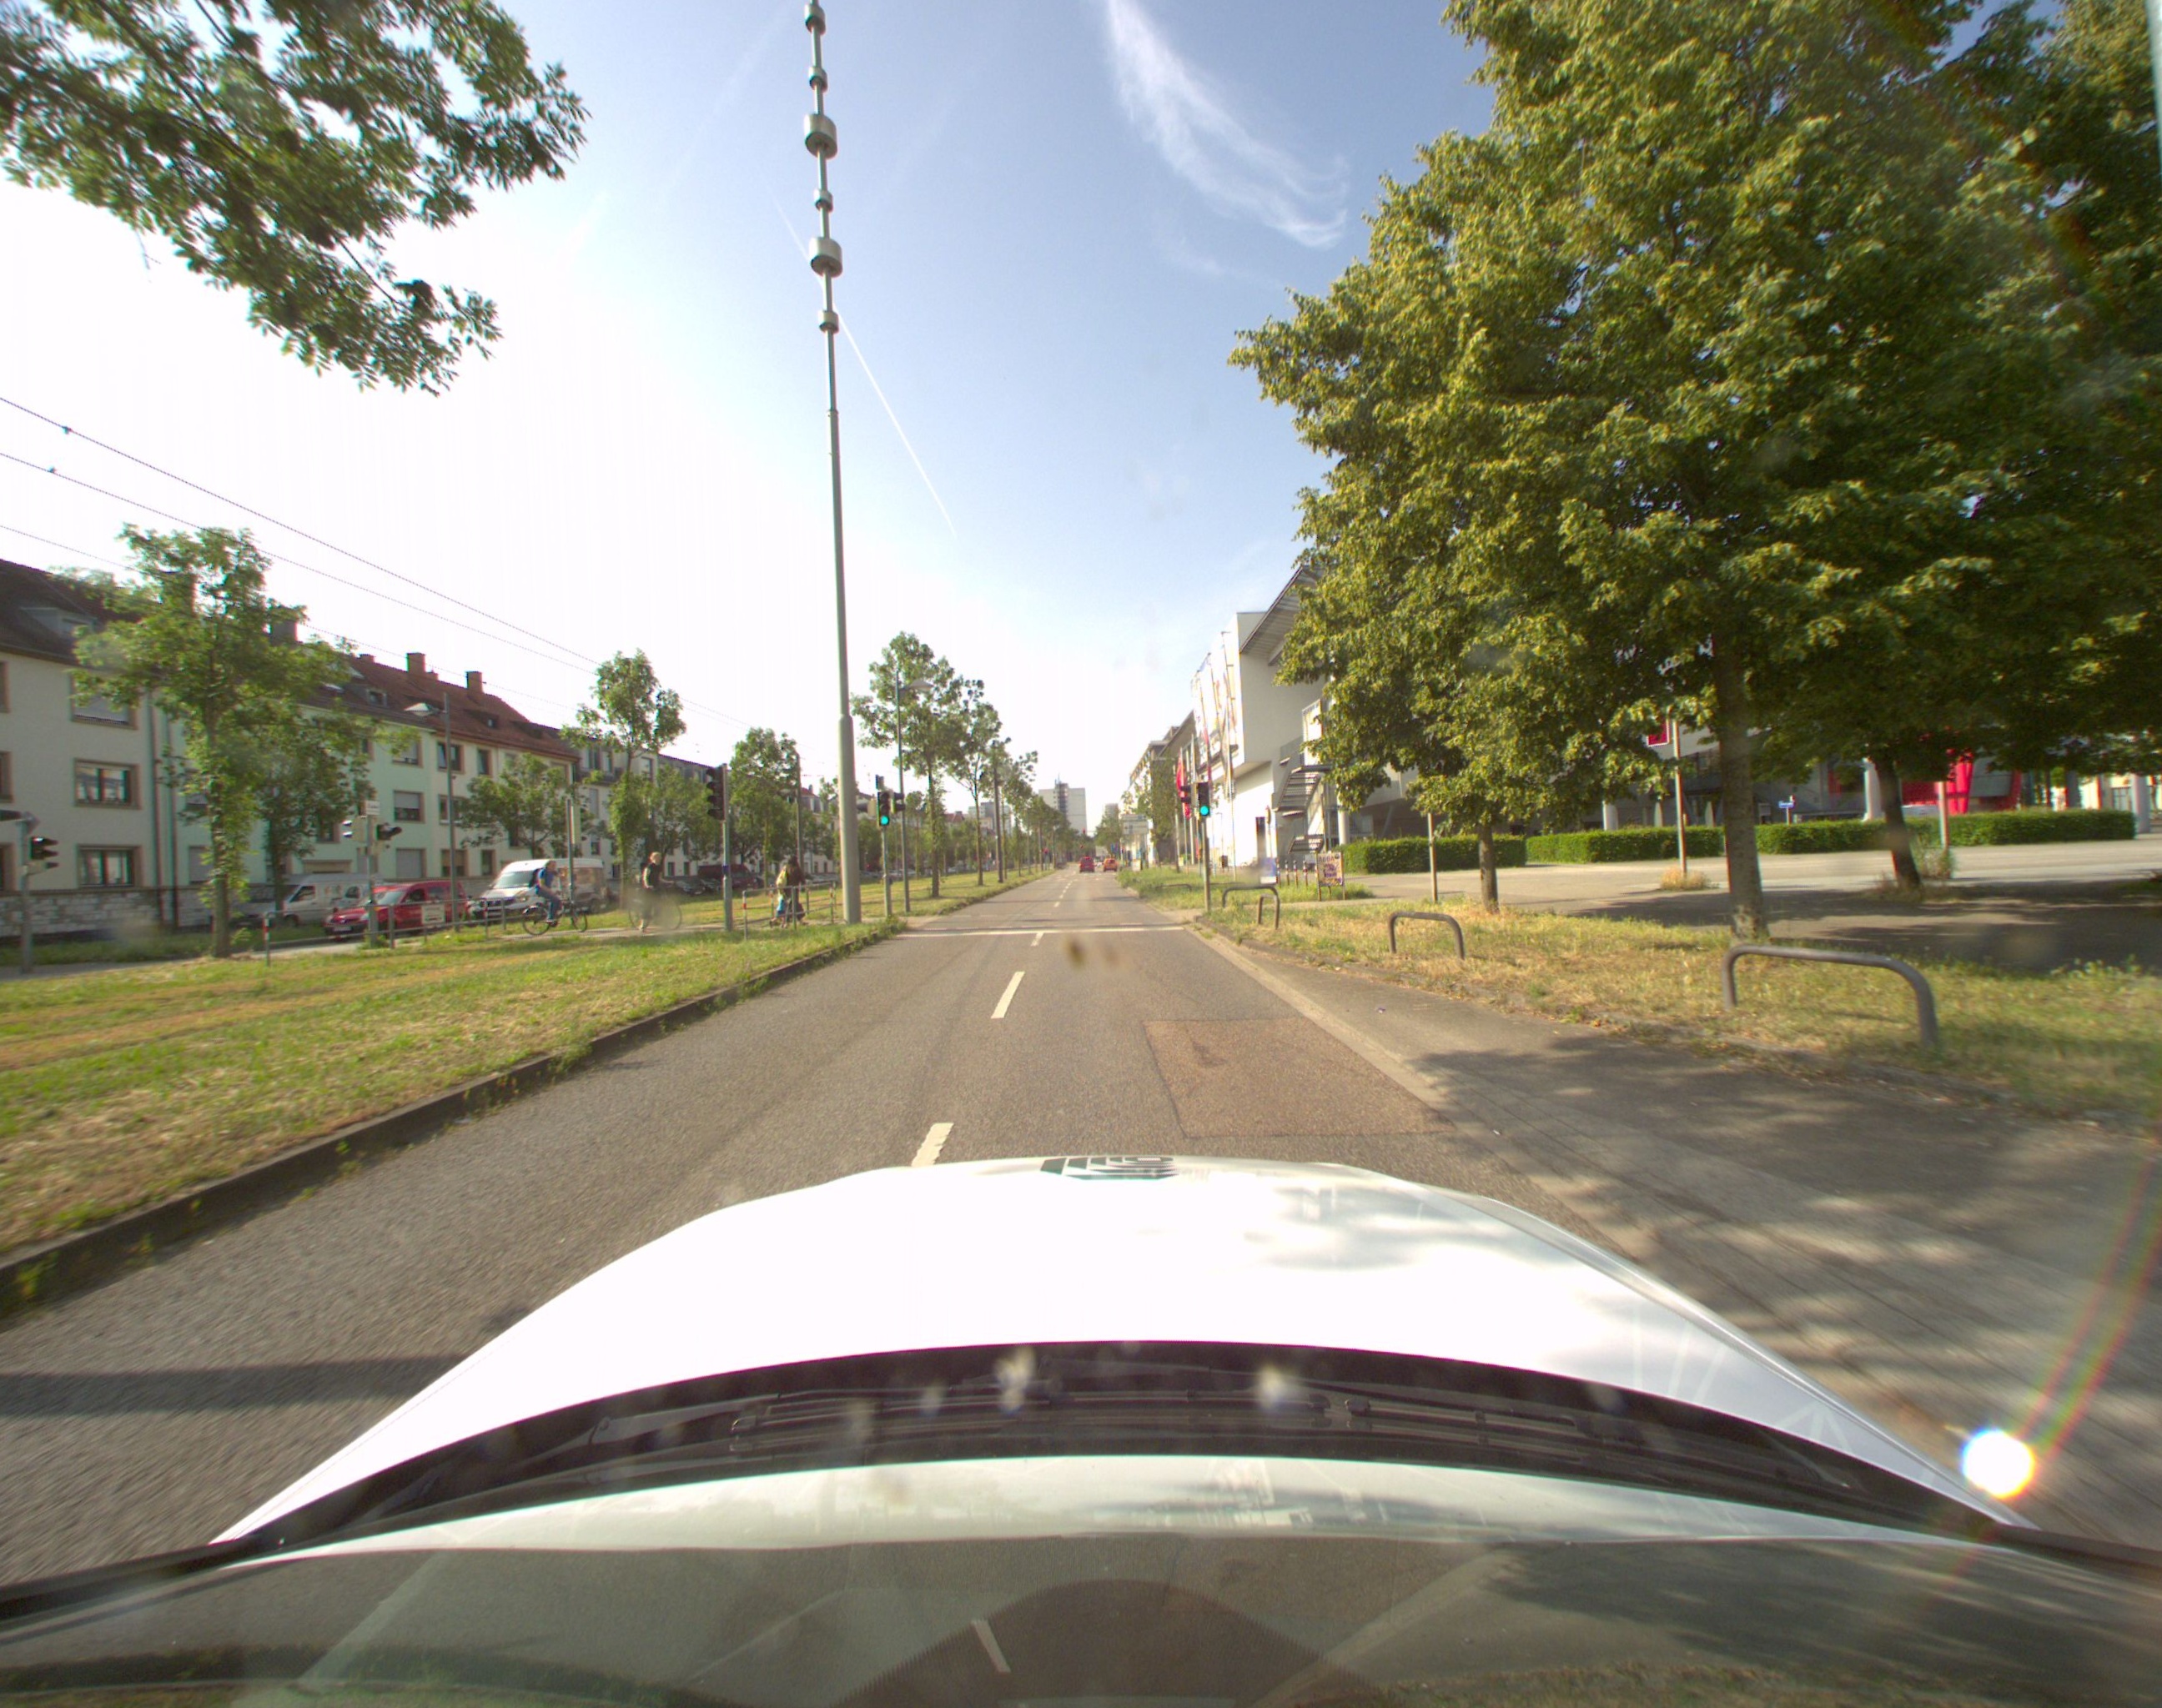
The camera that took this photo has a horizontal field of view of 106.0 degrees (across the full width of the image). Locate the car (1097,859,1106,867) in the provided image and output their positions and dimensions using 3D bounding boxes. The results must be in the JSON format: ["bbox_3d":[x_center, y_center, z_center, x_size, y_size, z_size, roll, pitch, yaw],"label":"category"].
[{"bbox_3d":[3.977,1.798,160.584,1.742,1.650,3.216,-1,-1,1],"label":"car"}]

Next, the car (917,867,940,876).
[{"bbox_3d":[-28.515,3.231,152.240,3.950,1.596,1.665,-1,-1,25],"label":"car"}]

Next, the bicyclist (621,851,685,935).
[{"bbox_3d":[-10.148,0.914,19.324,1.141,1.934,0.687,-1,-1,4],"label":"bicyclist"}]

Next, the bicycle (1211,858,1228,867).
[{"bbox_3d":[13.950,0.864,81.971,1.617,0.888,0.550,-1,-1,-2],"label":"bicycle"}]

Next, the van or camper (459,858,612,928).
[{"bbox_3d":[-21.935,1.470,33.167,2.196,2.531,6.028,-1,-1,-1],"label":"van or camper"}]

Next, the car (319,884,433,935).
[{"bbox_3d":[-27.471,2.097,31.695,5.258,1.738,2.013,-1,-1,33],"label":"car"}]

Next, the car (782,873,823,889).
[{"bbox_3d":[-27.567,2.650,80.617,3.950,1.530,1.472,-1,-1,25],"label":"car"}]

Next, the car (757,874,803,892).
[{"bbox_3d":[-26.864,2.577,72.574,3.950,1.530,1.472,-1,-1,25],"label":"car"}]

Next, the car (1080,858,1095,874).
[{"bbox_3d":[0.807,1.464,101.658,1.742,2.014,3.216,-1,-1,1],"label":"car"}]

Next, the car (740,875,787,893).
[{"bbox_3d":[-27.166,2.557,69.651,3.950,1.530,1.472,-1,-1,25],"label":"car"}]

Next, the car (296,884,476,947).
[{"bbox_3d":[-22.141,1.903,26.215,1.957,1.694,4.300,-1,-1,3],"label":"car"}]

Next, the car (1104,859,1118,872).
[{"bbox_3d":[3.955,1.437,106.278,1.742,1.650,3.216,-1,-1,1],"label":"car"}]

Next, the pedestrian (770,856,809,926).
[{"bbox_3d":[-6.685,0.827,18.726,0.623,1.572,0.711,-1,-1,1],"label":"pedestrian"}]

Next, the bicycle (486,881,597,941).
[{"bbox_3d":[-13.162,1.367,19.923,2.068,1.324,0.780,-2,0,-12],"label":"bicycle"}]

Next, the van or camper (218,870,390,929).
[{"bbox_3d":[-34.583,1.942,36.546,1.986,2.328,5.830,-1,-1,2],"label":"van or camper"}]

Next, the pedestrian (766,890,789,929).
[{"bbox_3d":[-7.064,1.277,18.977,0.340,0.875,0.461,-1,-1,1],"label":"pedestrian"}]

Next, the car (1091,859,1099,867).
[{"bbox_3d":[3.156,2.016,186.395,1.742,1.650,3.215,-1,-1,0],"label":"car"}]

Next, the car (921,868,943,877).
[{"bbox_3d":[-29.323,3.619,160.599,3.950,1.596,1.665,-1,-1,25],"label":"car"}]

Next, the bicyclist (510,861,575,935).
[{"bbox_3d":[-13.156,1.059,19.923,1.147,1.762,0.683,-1,-1,-12],"label":"bicyclist"}]

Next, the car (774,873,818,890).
[{"bbox_3d":[-26.404,2.540,75.538,3.950,1.530,1.472,-1,-1,25],"label":"car"}]

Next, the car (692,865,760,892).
[{"bbox_3d":[-27.565,1.911,63.148,5.170,2.014,1.887,-1,-1,25],"label":"car"}]

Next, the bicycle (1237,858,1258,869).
[{"bbox_3d":[13.752,0.748,67.179,1.617,0.888,0.550,-1,-1,-2],"label":"bicycle"}]

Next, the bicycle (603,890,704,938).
[{"bbox_3d":[-10.115,1.413,19.287,2.057,1.042,0.668,-1,-1,4],"label":"bicycle"}]

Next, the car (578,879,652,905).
[{"bbox_3d":[-26.798,2.145,46.785,3.950,1.412,1.729,-1,-1,25],"label":"car"}]
